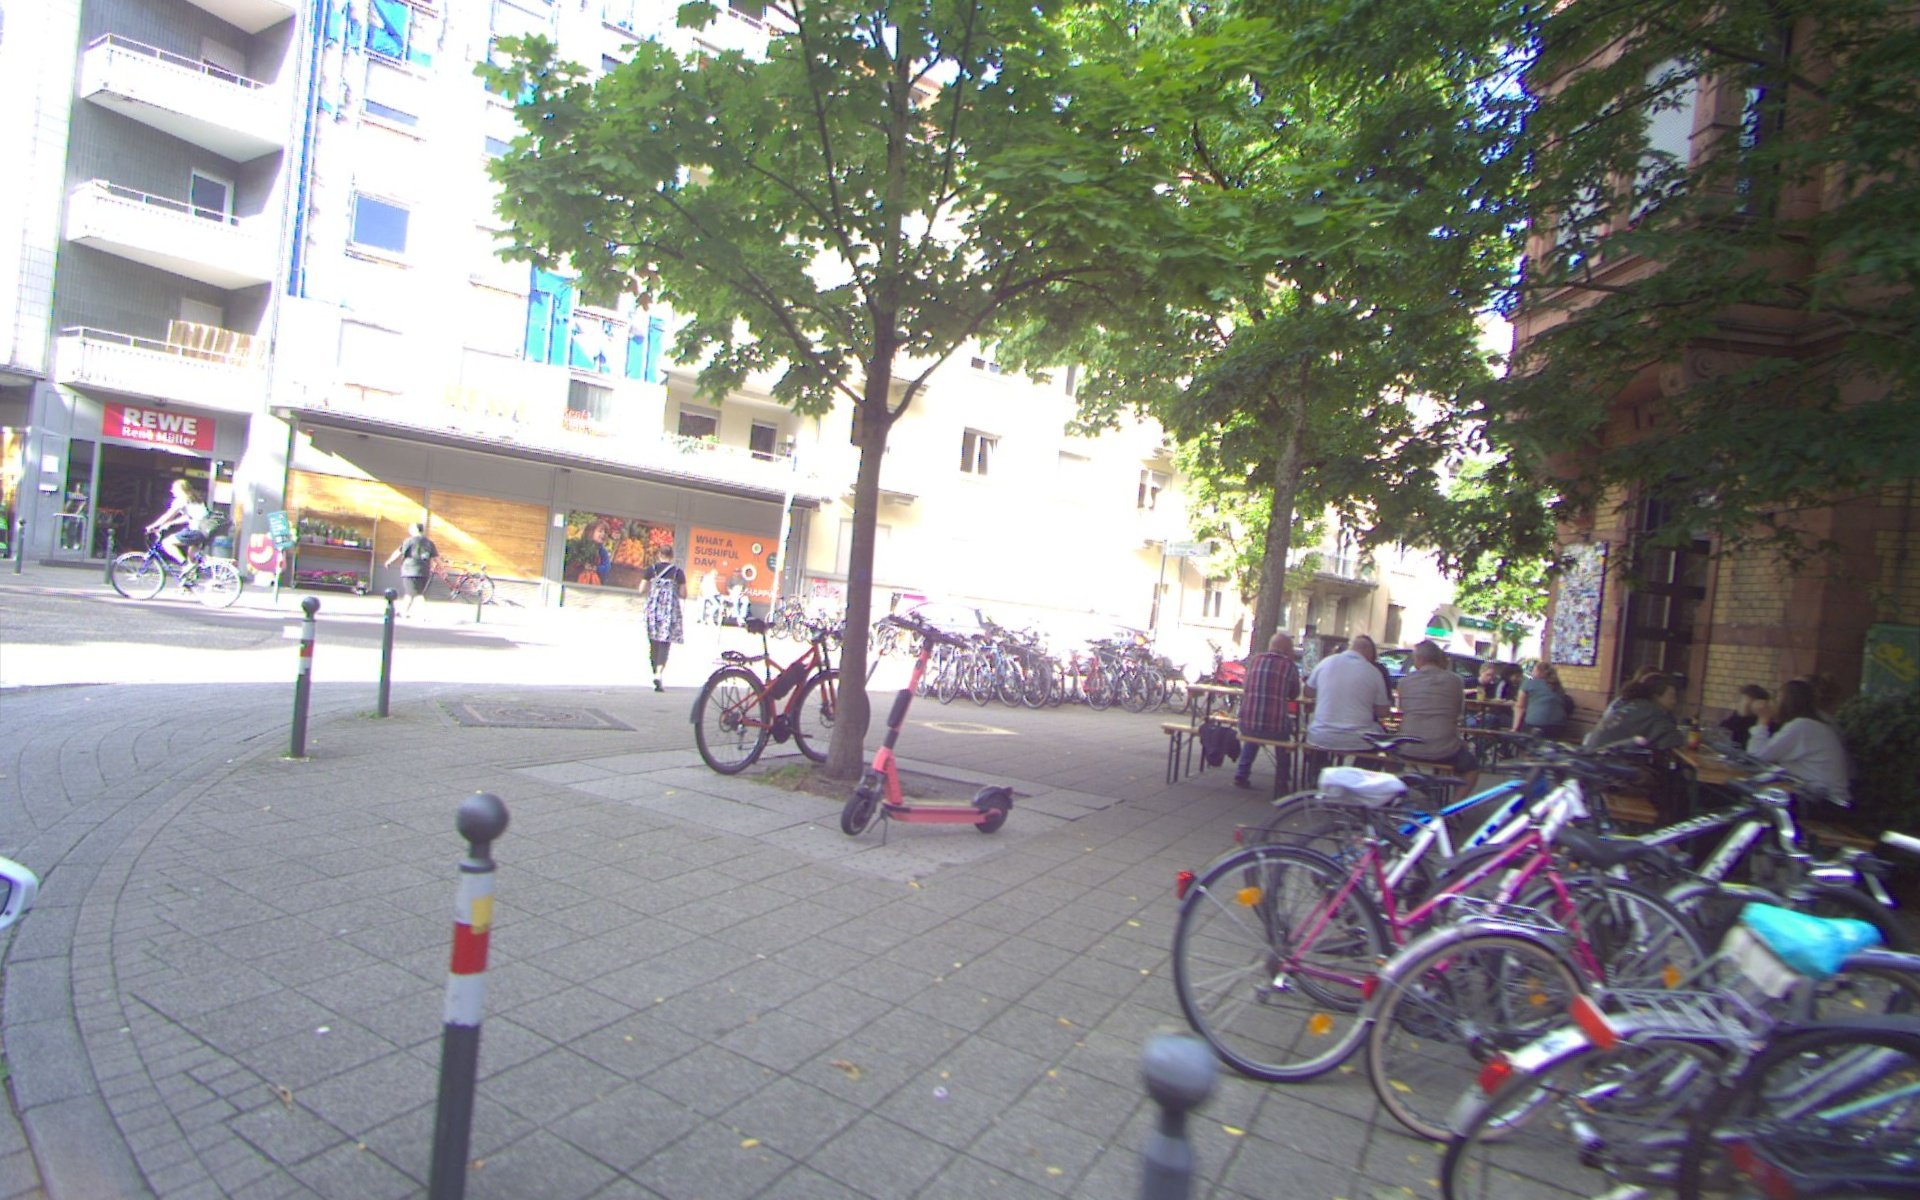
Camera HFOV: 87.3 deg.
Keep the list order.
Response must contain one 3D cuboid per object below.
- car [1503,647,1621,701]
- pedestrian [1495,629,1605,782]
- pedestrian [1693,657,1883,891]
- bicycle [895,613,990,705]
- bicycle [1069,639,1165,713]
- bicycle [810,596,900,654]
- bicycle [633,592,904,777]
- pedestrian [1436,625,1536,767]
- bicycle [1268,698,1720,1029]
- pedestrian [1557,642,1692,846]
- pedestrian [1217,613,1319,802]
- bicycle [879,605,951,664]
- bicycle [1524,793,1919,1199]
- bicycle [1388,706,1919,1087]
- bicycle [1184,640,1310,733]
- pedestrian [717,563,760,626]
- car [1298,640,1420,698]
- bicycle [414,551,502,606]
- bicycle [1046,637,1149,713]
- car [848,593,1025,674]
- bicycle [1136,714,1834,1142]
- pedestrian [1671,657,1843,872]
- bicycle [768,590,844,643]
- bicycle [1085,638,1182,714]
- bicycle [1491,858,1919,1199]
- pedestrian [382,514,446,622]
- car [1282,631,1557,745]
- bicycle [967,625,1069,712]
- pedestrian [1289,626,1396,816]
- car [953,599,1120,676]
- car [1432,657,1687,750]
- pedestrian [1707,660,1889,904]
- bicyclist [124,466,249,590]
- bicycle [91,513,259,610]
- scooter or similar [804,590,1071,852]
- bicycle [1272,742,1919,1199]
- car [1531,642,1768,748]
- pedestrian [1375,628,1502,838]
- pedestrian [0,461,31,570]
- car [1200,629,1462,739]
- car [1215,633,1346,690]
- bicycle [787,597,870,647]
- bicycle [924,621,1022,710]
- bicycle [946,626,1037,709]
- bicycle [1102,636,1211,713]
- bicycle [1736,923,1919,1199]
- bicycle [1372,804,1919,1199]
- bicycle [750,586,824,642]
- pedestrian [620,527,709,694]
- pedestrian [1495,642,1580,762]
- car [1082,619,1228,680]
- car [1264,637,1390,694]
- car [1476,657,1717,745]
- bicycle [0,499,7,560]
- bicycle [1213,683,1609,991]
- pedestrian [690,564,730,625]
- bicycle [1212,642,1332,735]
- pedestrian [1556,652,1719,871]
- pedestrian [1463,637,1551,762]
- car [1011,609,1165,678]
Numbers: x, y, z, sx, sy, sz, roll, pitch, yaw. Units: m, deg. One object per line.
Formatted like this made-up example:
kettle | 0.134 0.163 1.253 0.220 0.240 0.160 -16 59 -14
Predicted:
car | 26.659 3.296 44.715 4.043 1.857 2.002 6 -2 21
pedestrian | 6.568 1.165 11.218 0.659 1.584 0.622 6 1 -13
pedestrian | 5.661 1.145 6.938 0.745 1.424 0.673 7 1 27
bicycle | -0.293 0.815 14.431 0.424 1.170 1.985 5 -2 -28
bicycle | 2.483 1.191 16.058 0.338 1.024 1.612 5 -1 -42
bicycle | -2.423 0.604 23.556 0.740 1.155 2.320 7 0 31
bicycle | -1.301 0.594 7.252 0.642 1.108 1.925 7 0 35
pedestrian | 6.291 1.131 12.058 0.680 1.584 0.603 6 1 -11
bicycle | 2.002 0.987 3.862 1.429 1.054 0.336 5 4 1
pedestrian | 5.068 1.067 7.713 0.626 1.424 0.574 7 1 23
pedestrian | 2.518 0.851 8.198 0.539 1.410 0.758 7 1 26
bicycle | -1.025 0.809 23.192 1.553 1.154 0.568 9 -2 -44
bicycle | 2.408 1.106 2.354 1.822 1.054 0.347 5 4 3
bicycle | 2.529 1.022 3.549 1.764 1.089 0.354 5 4 1
bicycle | 4.199 1.243 14.853 0.561 1.145 1.837 6 -1 -29
pedestrian | -5.884 -0.148 26.717 0.742 1.568 0.725 8 0 -33
car | 14.718 2.518 37.117 3.928 1.605 1.998 6 0 25
bicycle | -11.360 -0.483 22.804 1.660 1.063 0.456 6 1 -20
bicycle | 2.130 1.155 15.773 0.477 1.024 1.602 5 -1 -42
car | -0.591 0.844 25.658 3.927 1.529 1.999 6 0 23
bicycle | 1.578 1.002 3.191 1.884 1.054 0.389 5 4 1
pedestrian | 5.927 1.184 7.532 0.745 1.424 0.673 7 1 27
bicycle | -3.691 0.416 24.354 0.477 1.155 2.141 7 1 30
bicycle | 2.791 1.212 16.368 0.338 1.024 1.601 5 1 -42
bicycle | 1.929 1.103 1.669 1.822 1.054 0.460 5 4 1
pedestrian | -9.416 -0.545 17.343 0.765 1.761 0.627 7 1 43
car | 8.834 1.664 19.708 1.982 1.571 4.383 6 0 -36
bicycle | 0.831 0.993 15.121 0.475 1.103 2.072 6 -1 -26
pedestrian | 3.038 0.928 7.958 0.586 1.359 0.758 7 1 26
car | 2.076 0.988 27.106 3.927 1.552 1.999 6 0 23
car | 13.213 2.248 22.437 1.982 1.388 4.383 6 0 -36
pedestrian | 5.255 1.099 6.357 0.618 1.368 0.670 7 1 26
bicyclist | -11.599 -1.051 15.121 0.997 1.689 0.944 6 1 6
bicycle | -11.781 -0.570 15.132 1.938 1.215 0.712 6 1 4
scooter or similar | -0.117 0.663 5.678 1.237 1.290 0.658 6 1 -35
bicycle | 1.909 1.038 2.750 1.870 1.054 0.444 5 4 1
car | 17.208 2.329 25.313 1.982 1.973 4.383 6 0 -36
pedestrian | 3.639 0.971 7.662 0.690 1.424 0.798 7 1 27
pedestrian | -17.144 -1.533 17.773 0.603 1.874 0.869 7 1 36
car | 6.603 1.463 18.279 1.981 1.404 3.963 6 0 -34
car | 10.780 2.040 33.811 3.927 1.349 1.999 6 0 24
bicycle | -3.123 0.546 24.079 0.740 1.045 2.058 7 1 31
bicycle | 0.153 0.920 14.653 0.475 1.117 2.015 6 -2 -26
bicycle | 0.431 0.977 14.990 0.337 1.066 2.029 5 -1 -26
bicycle | 3.228 1.219 16.706 0.424 1.094 1.830 5 -1 -41
bicycle | 2.012 1.080 1.172 1.822 1.054 0.549 5 4 1
bicycle | 1.958 1.083 2.061 1.980 1.054 0.347 5 4 3
bicycle | -4.195 0.361 24.567 0.428 1.154 2.083 7 -1 30
pedestrian | -3.423 0.113 11.631 0.773 1.802 0.789 6 1 -21
pedestrian | 8.118 1.426 14.149 0.694 1.584 0.637 6 1 -33
car | 5.967 1.487 30.708 3.927 1.337 1.999 6 0 24
car | 12.941 2.284 35.460 3.928 1.460 1.998 6 0 25
car | 15.155 2.380 24.182 1.982 1.433 4.383 6 0 -36
bicycle | -13.831 -0.876 13.507 2.453 1.192 0.667 6 -1 28
bicycle | 1.855 0.966 4.244 1.360 1.053 0.451 6 1 0
pedestrian | -6.502 -0.139 26.146 0.745 1.499 0.581 5 2 -34
bicycle | 4.641 1.292 15.085 0.422 1.149 1.836 4 1 -29
pedestrian | 4.781 1.101 7.158 0.745 1.375 0.673 7 1 26
pedestrian | 7.402 1.345 13.620 0.693 1.584 0.631 6 1 -32
car | 3.704 1.236 29.011 3.927 1.440 1.999 6 0 22
